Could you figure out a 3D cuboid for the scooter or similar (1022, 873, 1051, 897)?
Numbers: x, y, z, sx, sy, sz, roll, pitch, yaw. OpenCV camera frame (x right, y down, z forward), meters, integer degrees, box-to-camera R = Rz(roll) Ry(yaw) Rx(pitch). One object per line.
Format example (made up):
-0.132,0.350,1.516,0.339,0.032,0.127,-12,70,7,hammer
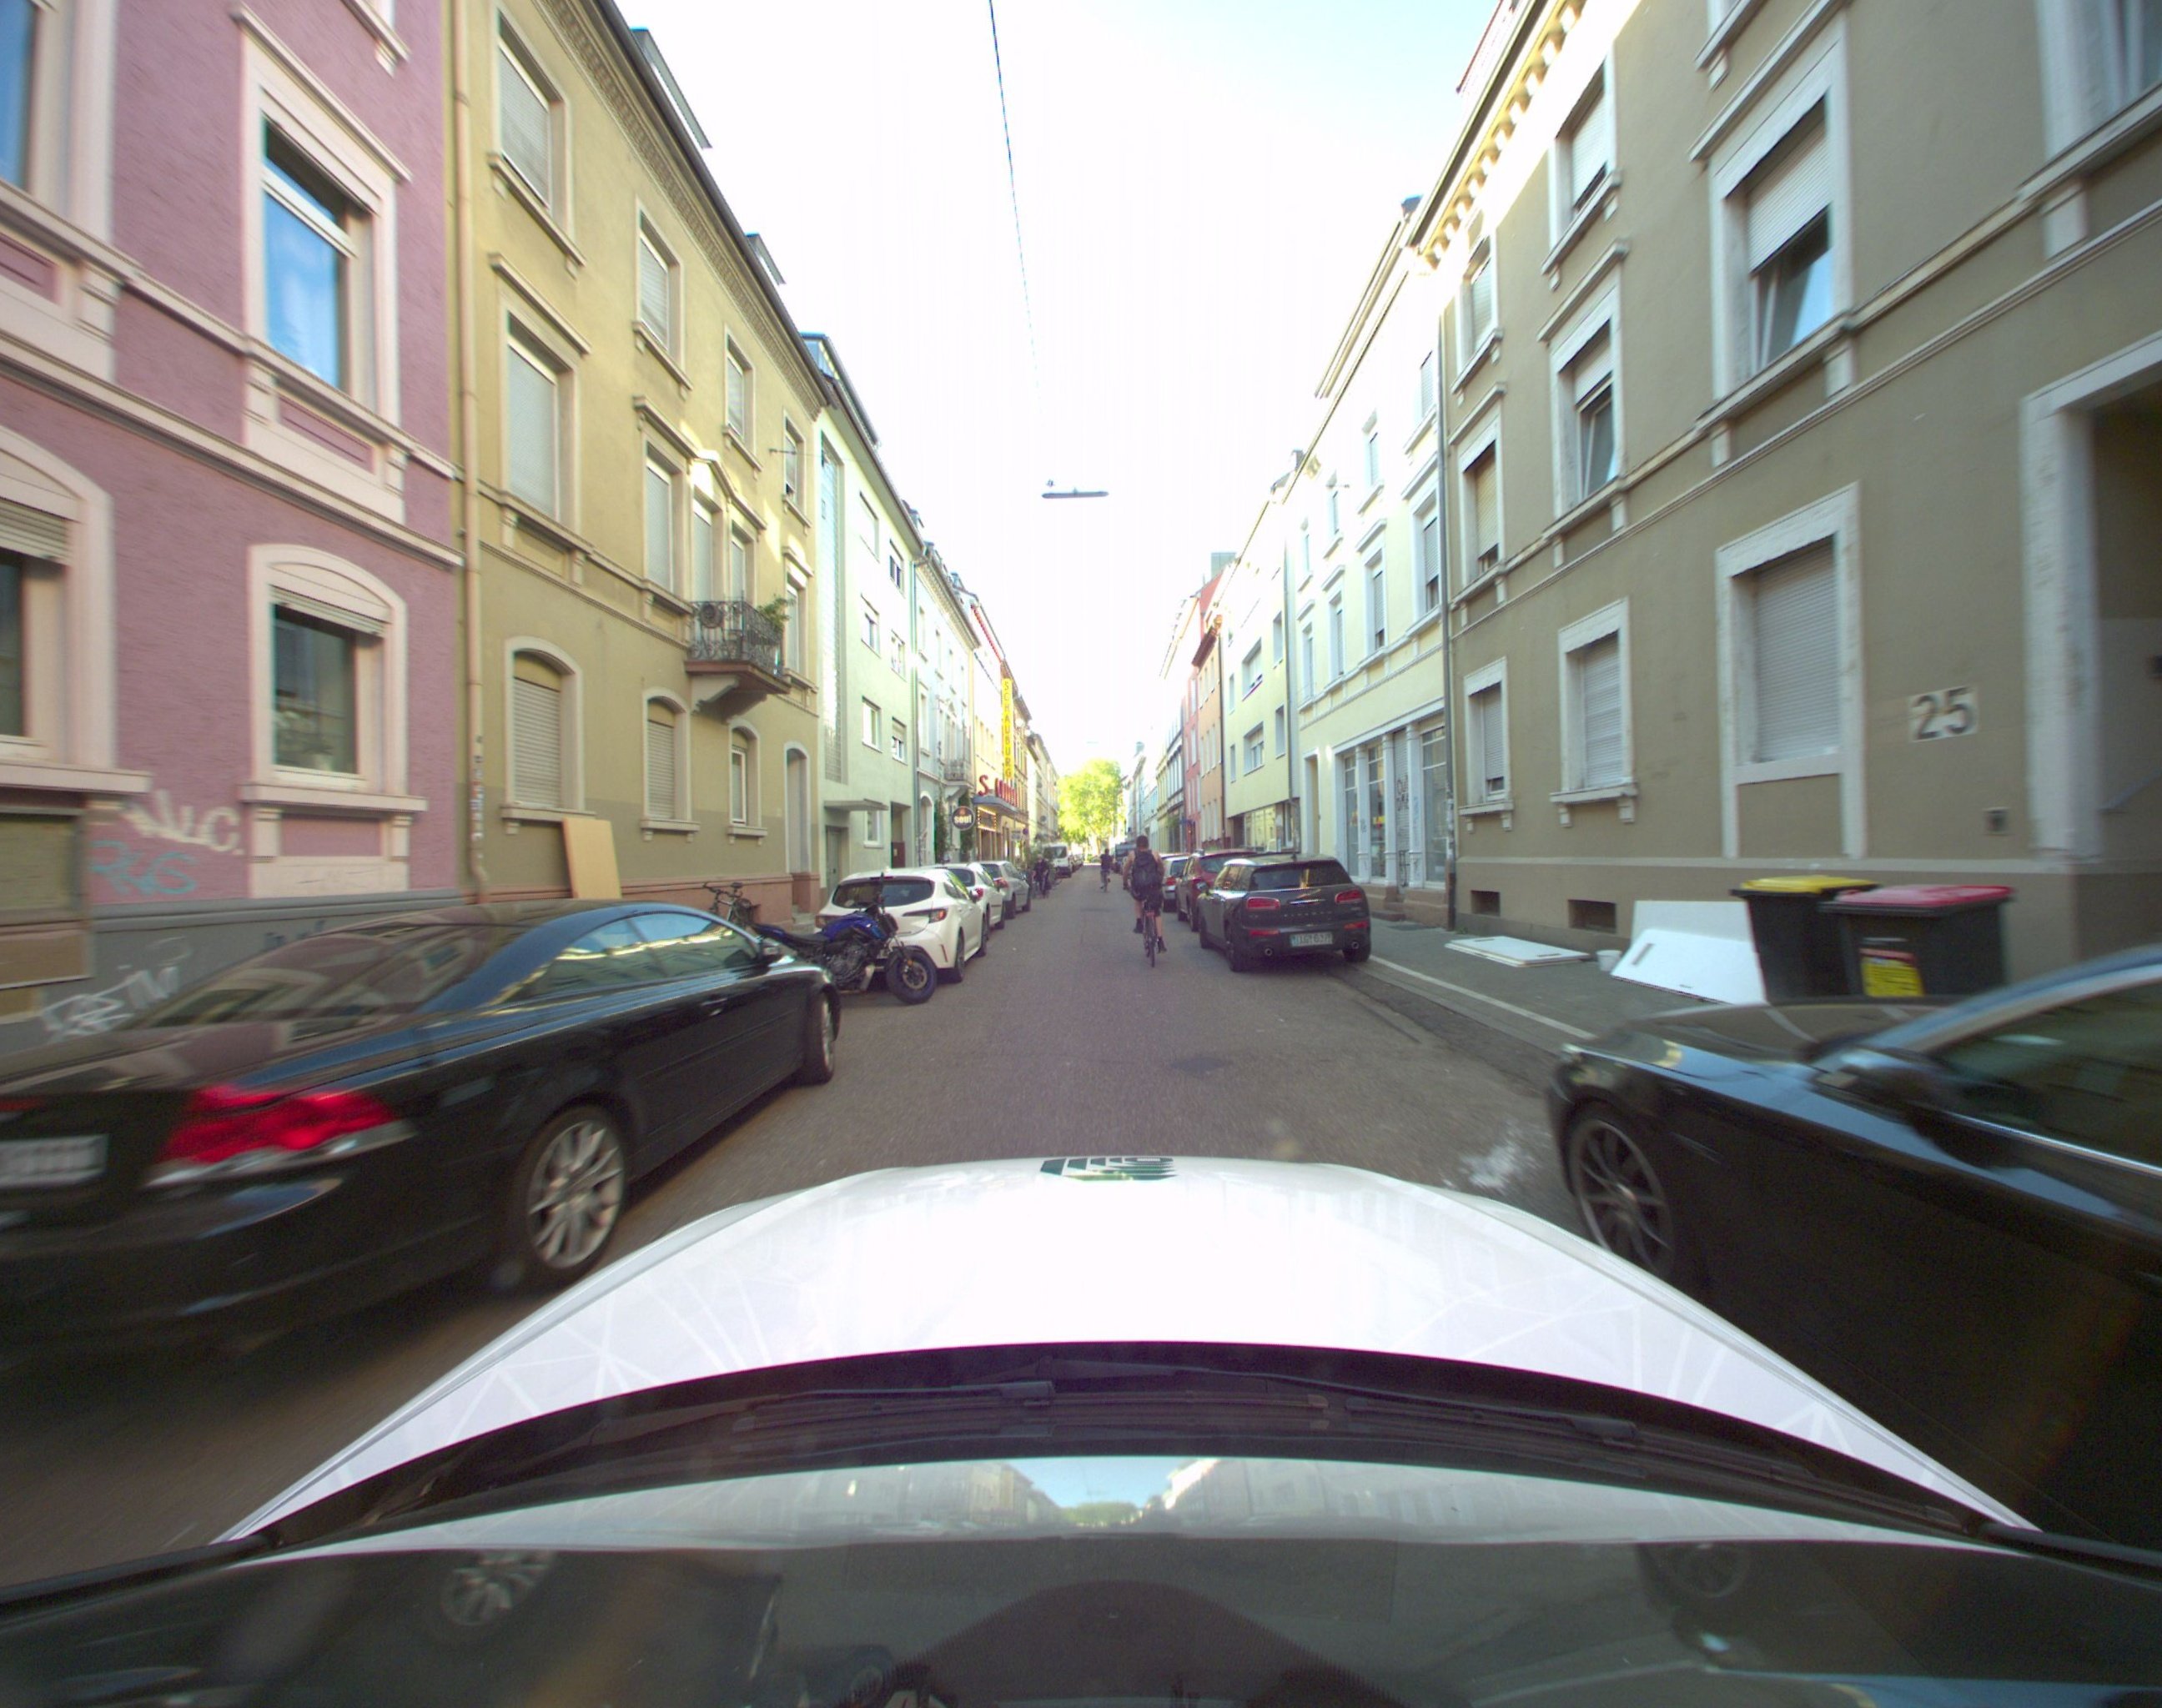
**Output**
-1.658,1.149,30.282,0.774,0.873,0.765,0,-1,-35,scooter or similar

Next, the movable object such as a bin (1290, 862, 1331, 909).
5.674,0.766,20.164,0.803,1.075,0.678,-4,-1,5,movable object such as a bin

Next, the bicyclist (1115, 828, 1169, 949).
0.847,0.466,11.542,0.699,1.633,1.090,0,-1,1,bicyclist

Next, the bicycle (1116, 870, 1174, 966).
0.885,0.857,11.754,0.699,1.208,2.342,0,-1,1,bicycle

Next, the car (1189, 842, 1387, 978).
2.742,0.687,11.765,1.810,1.521,4.000,-4,-1,1,car

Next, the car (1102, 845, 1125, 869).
3.775,0.365,95.470,2.300,2.538,6.770,-4,-1,1,car

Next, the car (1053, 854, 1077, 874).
-1.237,0.789,65.583,1.666,1.441,4.165,-4,-1,1,car

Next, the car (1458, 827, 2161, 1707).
2.682,0.675,1.426,1.810,1.438,4.791,-4,-1,1,car

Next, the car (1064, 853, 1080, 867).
-0.982,0.706,91.649,1.666,1.441,4.165,-4,-1,1,car

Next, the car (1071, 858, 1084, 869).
-0.524,1.284,114.401,1.666,1.441,4.165,-4,-1,1,car

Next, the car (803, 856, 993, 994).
-2.283,0.818,11.230,1.667,1.441,4.163,-4,-1,-1,car

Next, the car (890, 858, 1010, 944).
-2.495,0.853,16.394,1.666,1.441,3.768,-4,-1,1,car

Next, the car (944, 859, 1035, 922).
-2.335,0.900,21.671,1.665,1.441,3.757,-4,-1,3,car

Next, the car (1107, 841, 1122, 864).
5.880,-0.230,142.852,2.300,3.767,6.770,-4,-1,1,car

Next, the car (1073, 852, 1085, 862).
-0.300,0.470,126.988,1.666,1.441,4.165,-4,-1,1,car

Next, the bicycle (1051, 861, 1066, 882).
-1.269,0.959,45.582,0.756,1.163,2.272,0,-1,-3,bicycle

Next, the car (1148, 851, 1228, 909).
2.884,0.676,22.738,1.705,1.383,4.000,-4,-1,1,car

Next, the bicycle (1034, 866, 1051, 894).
-1.582,1.054,33.401,0.698,1.105,2.272,0,-1,-3,bicycle

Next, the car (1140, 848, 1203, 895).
3.034,0.565,27.921,1.705,1.383,4.000,-4,-1,1,car

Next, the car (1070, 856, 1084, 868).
-0.505,0.987,107.179,1.666,1.441,4.165,-4,-1,1,car

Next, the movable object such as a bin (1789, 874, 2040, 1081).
4.909,0.684,4.841,0.735,1.075,0.676,-4,-1,-6,movable object such as a bin

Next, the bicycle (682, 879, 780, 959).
-5.425,0.970,12.764,0.590,1.089,2.079,0,-1,1,bicycle

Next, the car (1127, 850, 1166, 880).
3.405,0.557,42.988,1.705,1.393,4.000,-4,-1,1,car

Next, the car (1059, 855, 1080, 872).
-1.009,0.854,73.084,1.666,1.441,4.165,-4,-1,1,car

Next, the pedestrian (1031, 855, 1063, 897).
-1.277,0.813,30.571,0.904,1.578,0.765,0,-1,-35,pedestrian

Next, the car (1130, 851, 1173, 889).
3.208,0.718,37.534,1.615,1.550,4.000,-4,-1,1,car

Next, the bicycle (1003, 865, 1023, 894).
-2.788,1.049,33.518,0.756,1.134,2.272,0,-1,-3,bicycle

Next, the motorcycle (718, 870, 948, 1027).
-2.554,0.934,8.550,2.152,1.359,0.537,-4,0,-18,motorcycle

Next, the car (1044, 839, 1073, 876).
-1.612,0.221,58.596,1.904,2.496,4.163,-2,0,-1,car

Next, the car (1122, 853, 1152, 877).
3.687,0.747,54.381,1.705,1.447,4.000,-4,-1,1,car

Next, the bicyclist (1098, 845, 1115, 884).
1.045,0.422,33.631,0.699,1.605,0.813,0,1,0,bicyclist

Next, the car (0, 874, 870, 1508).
-2.641,0.910,4.210,1.703,1.383,4.359,-2,1,3,car

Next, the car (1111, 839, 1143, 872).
3.910,0.141,70.020,2.300,2.538,6.770,-4,-1,1,car

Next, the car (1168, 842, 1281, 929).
2.959,0.615,17.552,1.705,1.556,4.000,-4,-1,1,car

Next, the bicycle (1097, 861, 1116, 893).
1.049,0.917,33.679,0.699,1.208,2.342,0,1,0,bicycle

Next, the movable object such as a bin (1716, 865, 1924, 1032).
5.282,0.647,5.873,0.803,1.075,0.678,-4,-1,5,movable object such as a bin
